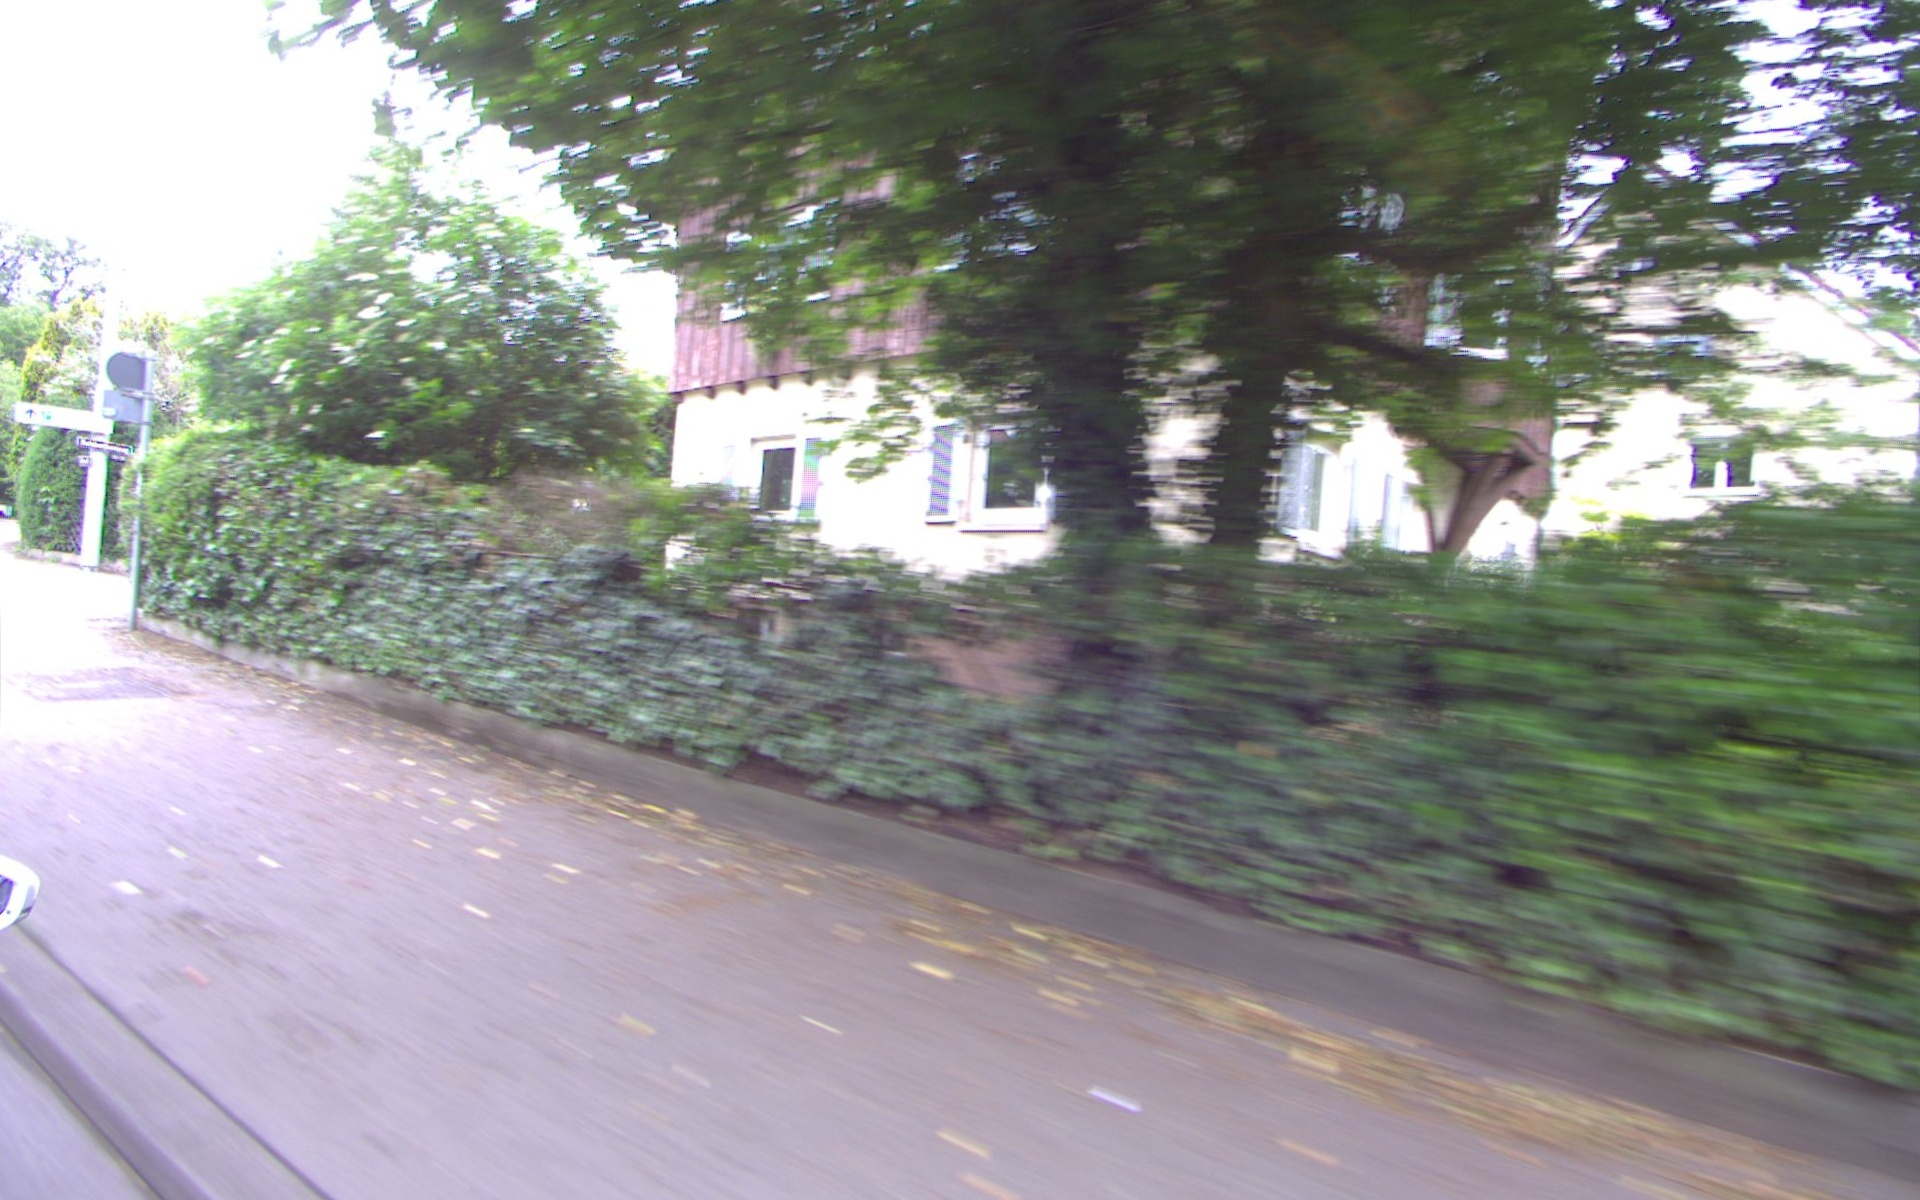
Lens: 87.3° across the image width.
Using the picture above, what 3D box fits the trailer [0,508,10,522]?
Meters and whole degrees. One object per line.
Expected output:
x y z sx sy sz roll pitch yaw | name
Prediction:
-63.620 -5.693 65.070 2.938 0.839 1.462 6 -1 -37 | trailer
